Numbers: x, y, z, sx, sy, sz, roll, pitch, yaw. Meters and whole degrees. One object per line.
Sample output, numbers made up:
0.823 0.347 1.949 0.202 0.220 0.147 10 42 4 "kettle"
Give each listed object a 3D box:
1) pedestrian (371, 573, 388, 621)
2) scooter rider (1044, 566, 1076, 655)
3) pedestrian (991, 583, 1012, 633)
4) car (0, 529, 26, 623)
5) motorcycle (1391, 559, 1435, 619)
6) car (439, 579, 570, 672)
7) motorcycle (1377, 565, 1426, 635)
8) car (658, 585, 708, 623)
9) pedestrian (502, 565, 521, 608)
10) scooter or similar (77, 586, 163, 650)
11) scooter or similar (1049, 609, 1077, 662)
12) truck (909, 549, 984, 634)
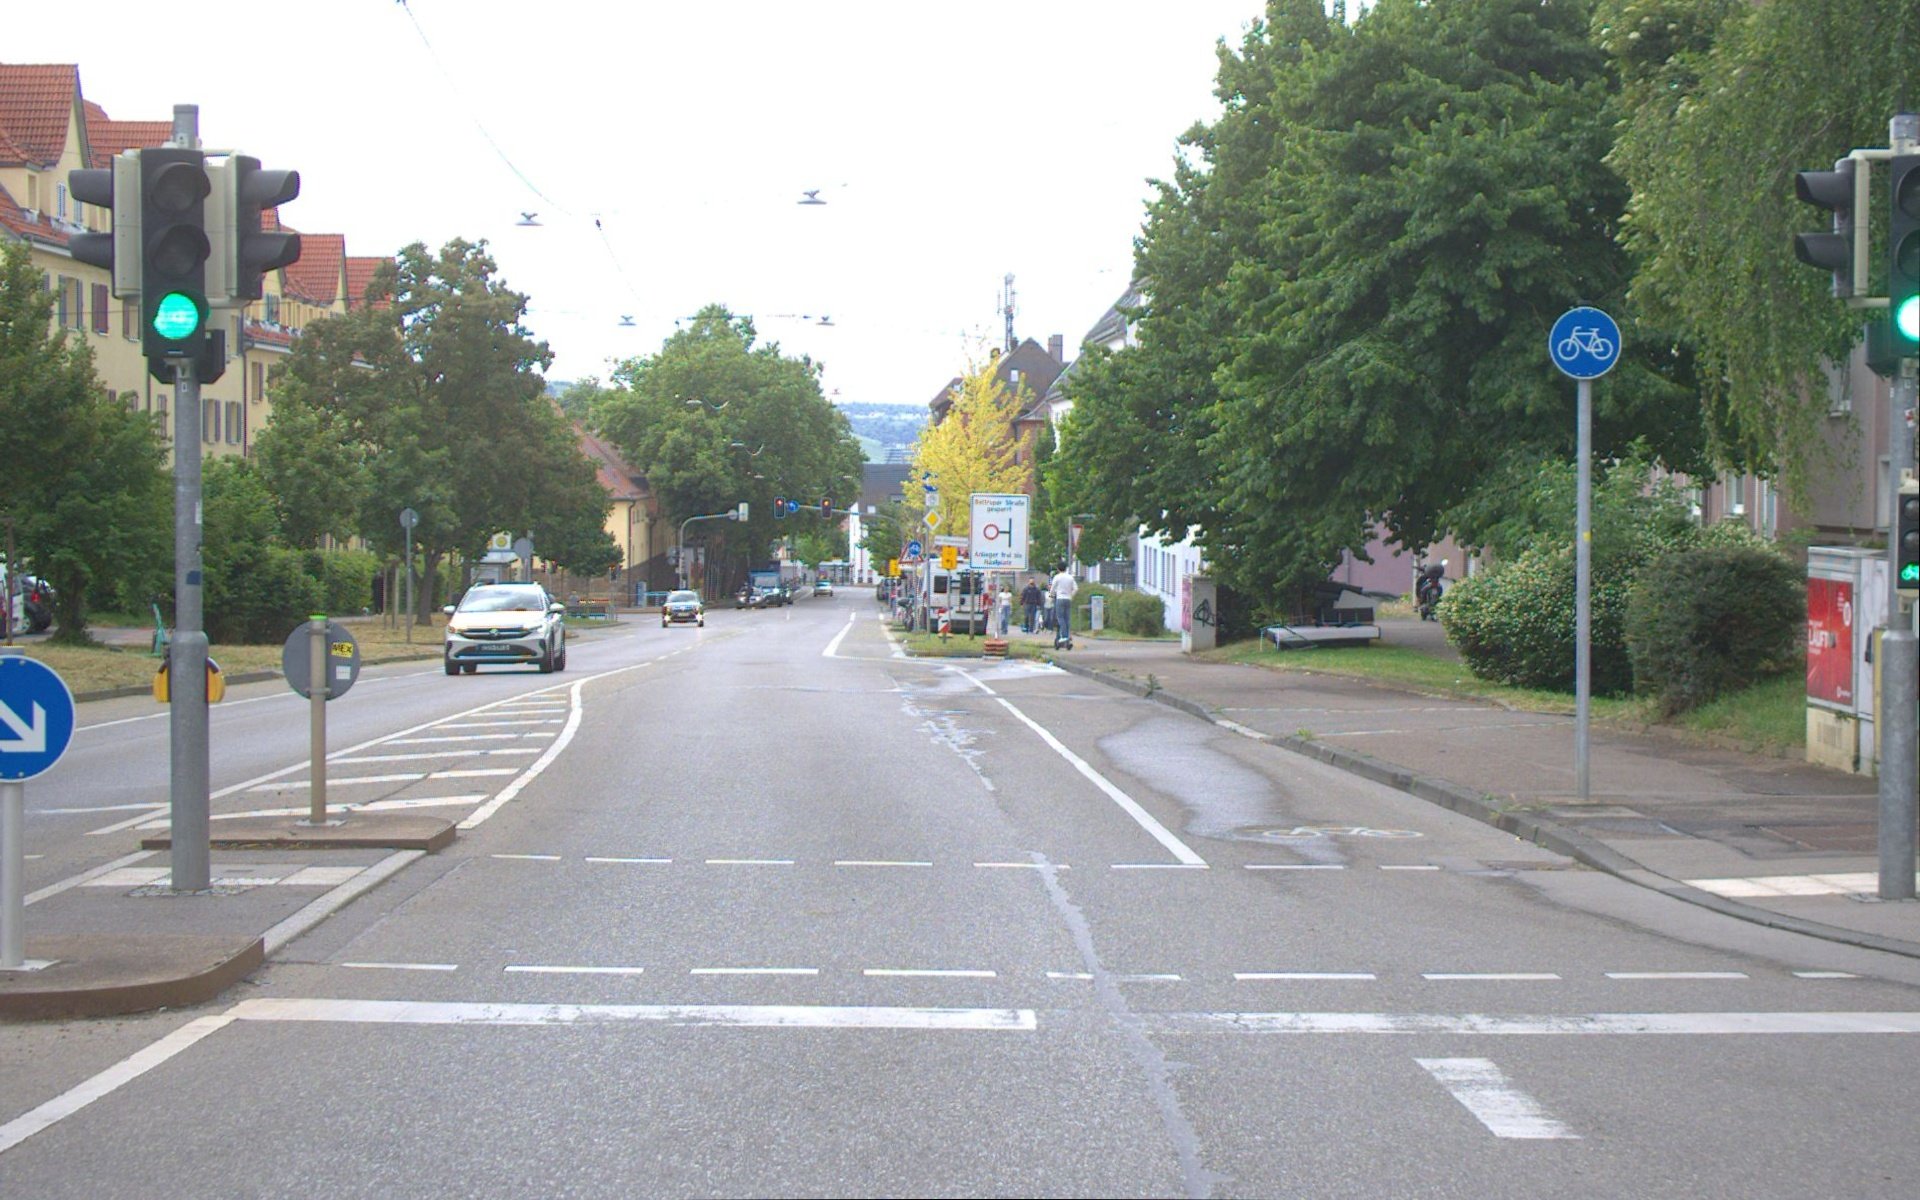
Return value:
-21.802 -0.115 129.186 0.513 1.773 0.753 1 0 -2 "pedestrian"
2.280 0.234 78.396 0.625 2.007 0.758 1 0 -2 "scooter rider"
1.384 0.262 114.624 0.576 1.638 0.561 0 -1 -16 "pedestrian"
-25.335 -0.599 83.587 4.717 2.246 1.995 1 0 -1 "car"
9.520 -0.231 72.298 0.590 1.223 1.967 1 0 -2 "motorcycle"
-7.533 0.391 57.197 1.801 1.459 4.030 -1 0 -3 "car"
10.156 -0.005 79.217 0.731 1.564 2.550 1 0 -1 "motorcycle"
-12.239 0.146 152.175 1.899 1.614 4.362 1 0 -1 "car"
-18.064 -0.529 138.441 0.597 1.721 0.861 2 0 1 "pedestrian"
-14.301 0.301 58.550 1.369 1.082 0.467 0 0 -6 "scooter or similar"
2.344 0.808 78.316 0.490 1.159 2.075 1 0 -2 "scooter or similar"
-0.454 -0.291 107.766 2.052 2.557 5.690 1 0 -3 "truck"
